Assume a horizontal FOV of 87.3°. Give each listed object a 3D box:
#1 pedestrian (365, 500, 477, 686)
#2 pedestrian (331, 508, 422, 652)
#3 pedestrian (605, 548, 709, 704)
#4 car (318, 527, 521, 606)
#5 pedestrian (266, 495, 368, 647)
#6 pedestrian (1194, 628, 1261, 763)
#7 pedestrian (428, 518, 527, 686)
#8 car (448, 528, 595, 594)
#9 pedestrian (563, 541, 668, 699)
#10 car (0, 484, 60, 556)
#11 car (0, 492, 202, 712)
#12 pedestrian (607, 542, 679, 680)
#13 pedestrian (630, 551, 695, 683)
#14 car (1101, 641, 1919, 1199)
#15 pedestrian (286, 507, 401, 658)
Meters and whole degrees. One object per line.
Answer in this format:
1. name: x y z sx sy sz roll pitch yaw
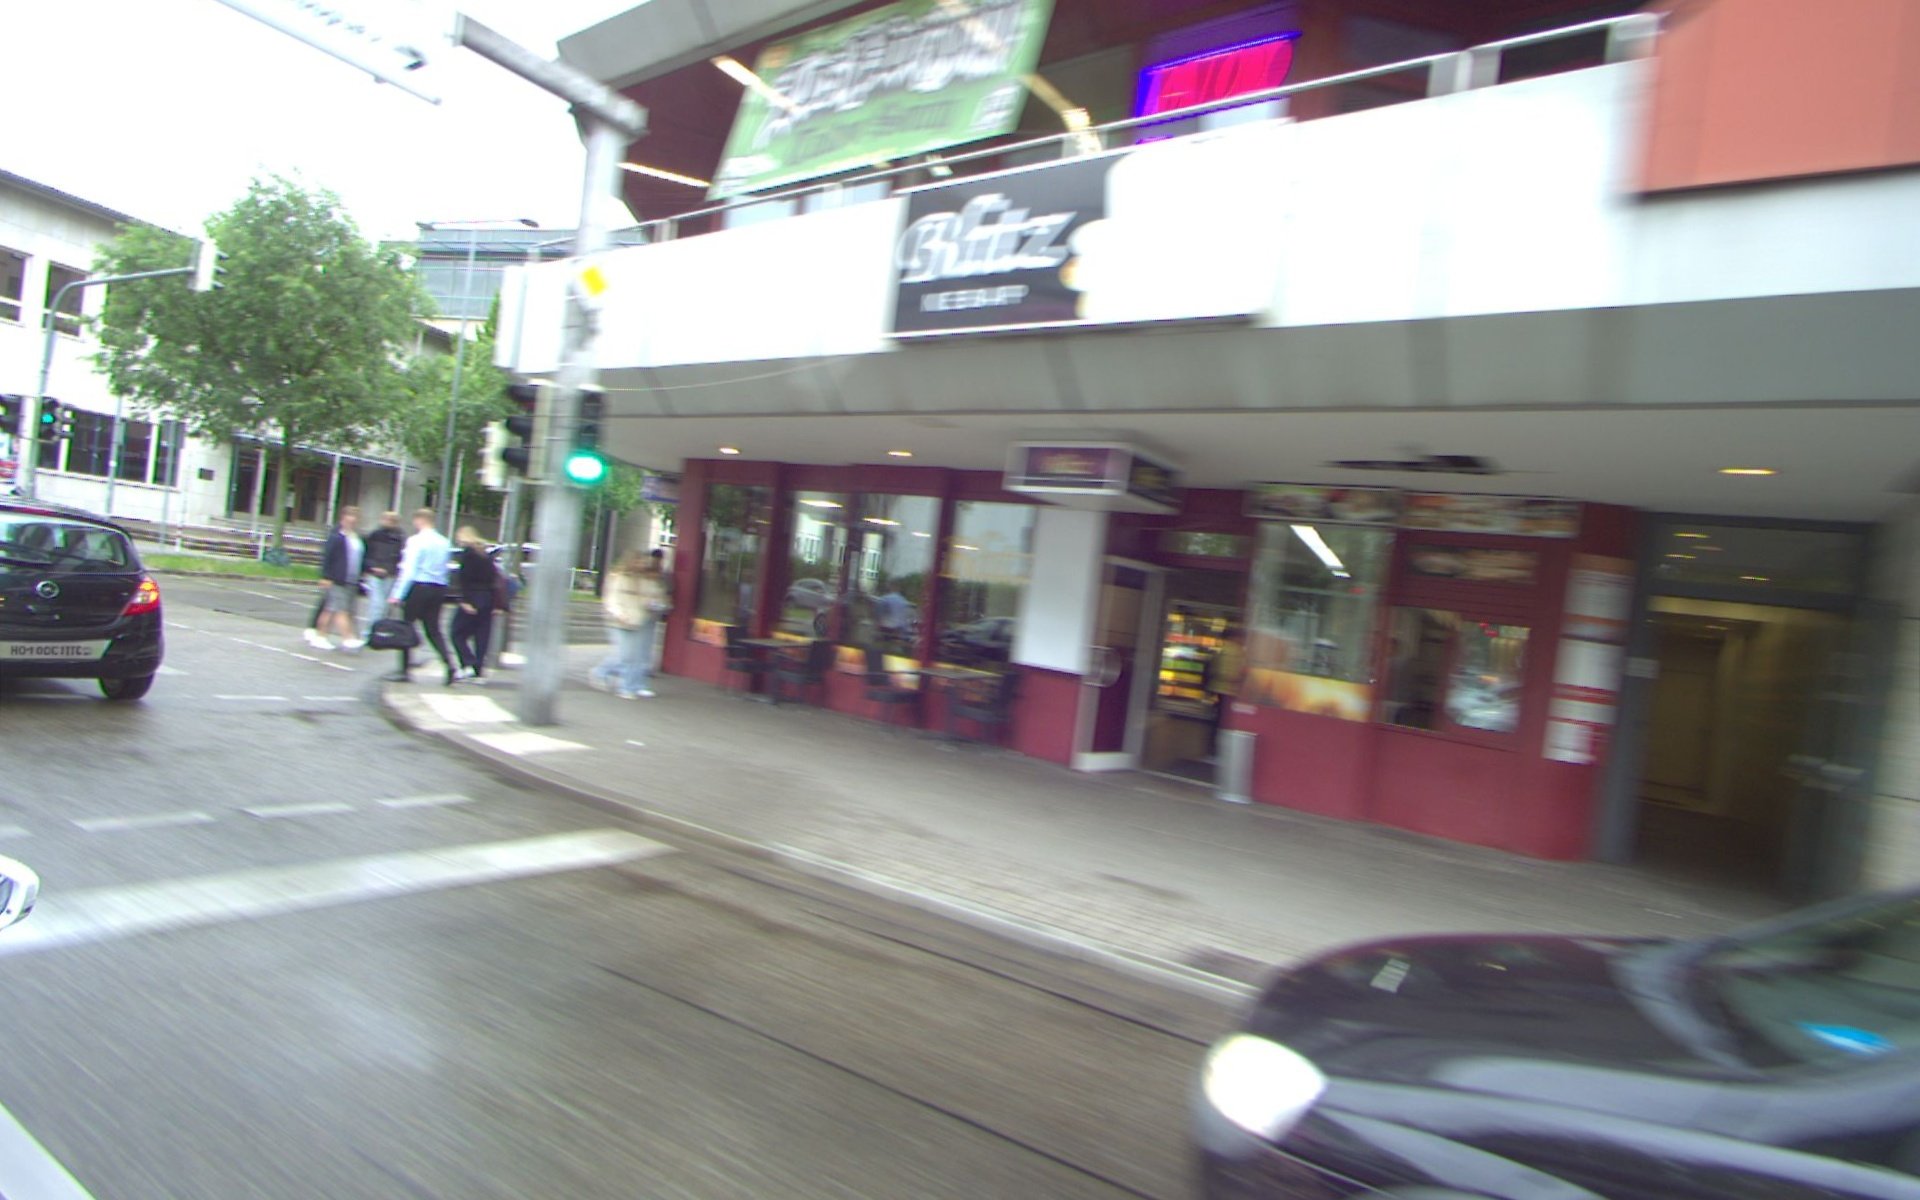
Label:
1. pedestrian: -5.711 -0.077 10.660 0.835 1.869 0.621 5 -1 39
2. pedestrian: -8.175 -0.264 14.097 0.665 1.919 0.733 6 0 32
3. pedestrian: -3.635 0.302 12.065 0.955 1.729 0.588 8 3 35
4. car: -13.303 -0.764 25.063 1.754 1.437 4.273 7 0 20
5. pedestrian: -8.635 -0.379 13.513 0.777 1.925 0.759 6 0 33
6. pedestrian: 3.117 1.102 11.756 0.500 1.506 0.458 5 1 -6
7. pedestrian: -5.385 0.025 11.228 0.667 1.795 0.621 5 -1 39
8. car: -15.311 -1.320 35.384 1.823 1.781 4.606 6 0 24
9. pedestrian: -3.964 0.225 11.570 0.925 1.685 0.573 8 3 35
10. car: -23.121 -2.050 22.673 3.969 1.494 1.979 8 -2 -39
11. car: -7.946 -0.153 7.947 3.678 1.474 1.711 7 -1 30
12. pedestrian: -4.257 0.154 13.534 0.485 1.784 0.595 5 -1 33
13. pedestrian: -4.178 0.247 14.149 0.503 1.784 0.526 5 -1 33
14. car: 2.247 1.074 1.775 3.567 1.458 1.594 8 0 31
15. pedestrian: -7.960 -0.218 12.996 0.873 1.801 0.750 8 0 29
